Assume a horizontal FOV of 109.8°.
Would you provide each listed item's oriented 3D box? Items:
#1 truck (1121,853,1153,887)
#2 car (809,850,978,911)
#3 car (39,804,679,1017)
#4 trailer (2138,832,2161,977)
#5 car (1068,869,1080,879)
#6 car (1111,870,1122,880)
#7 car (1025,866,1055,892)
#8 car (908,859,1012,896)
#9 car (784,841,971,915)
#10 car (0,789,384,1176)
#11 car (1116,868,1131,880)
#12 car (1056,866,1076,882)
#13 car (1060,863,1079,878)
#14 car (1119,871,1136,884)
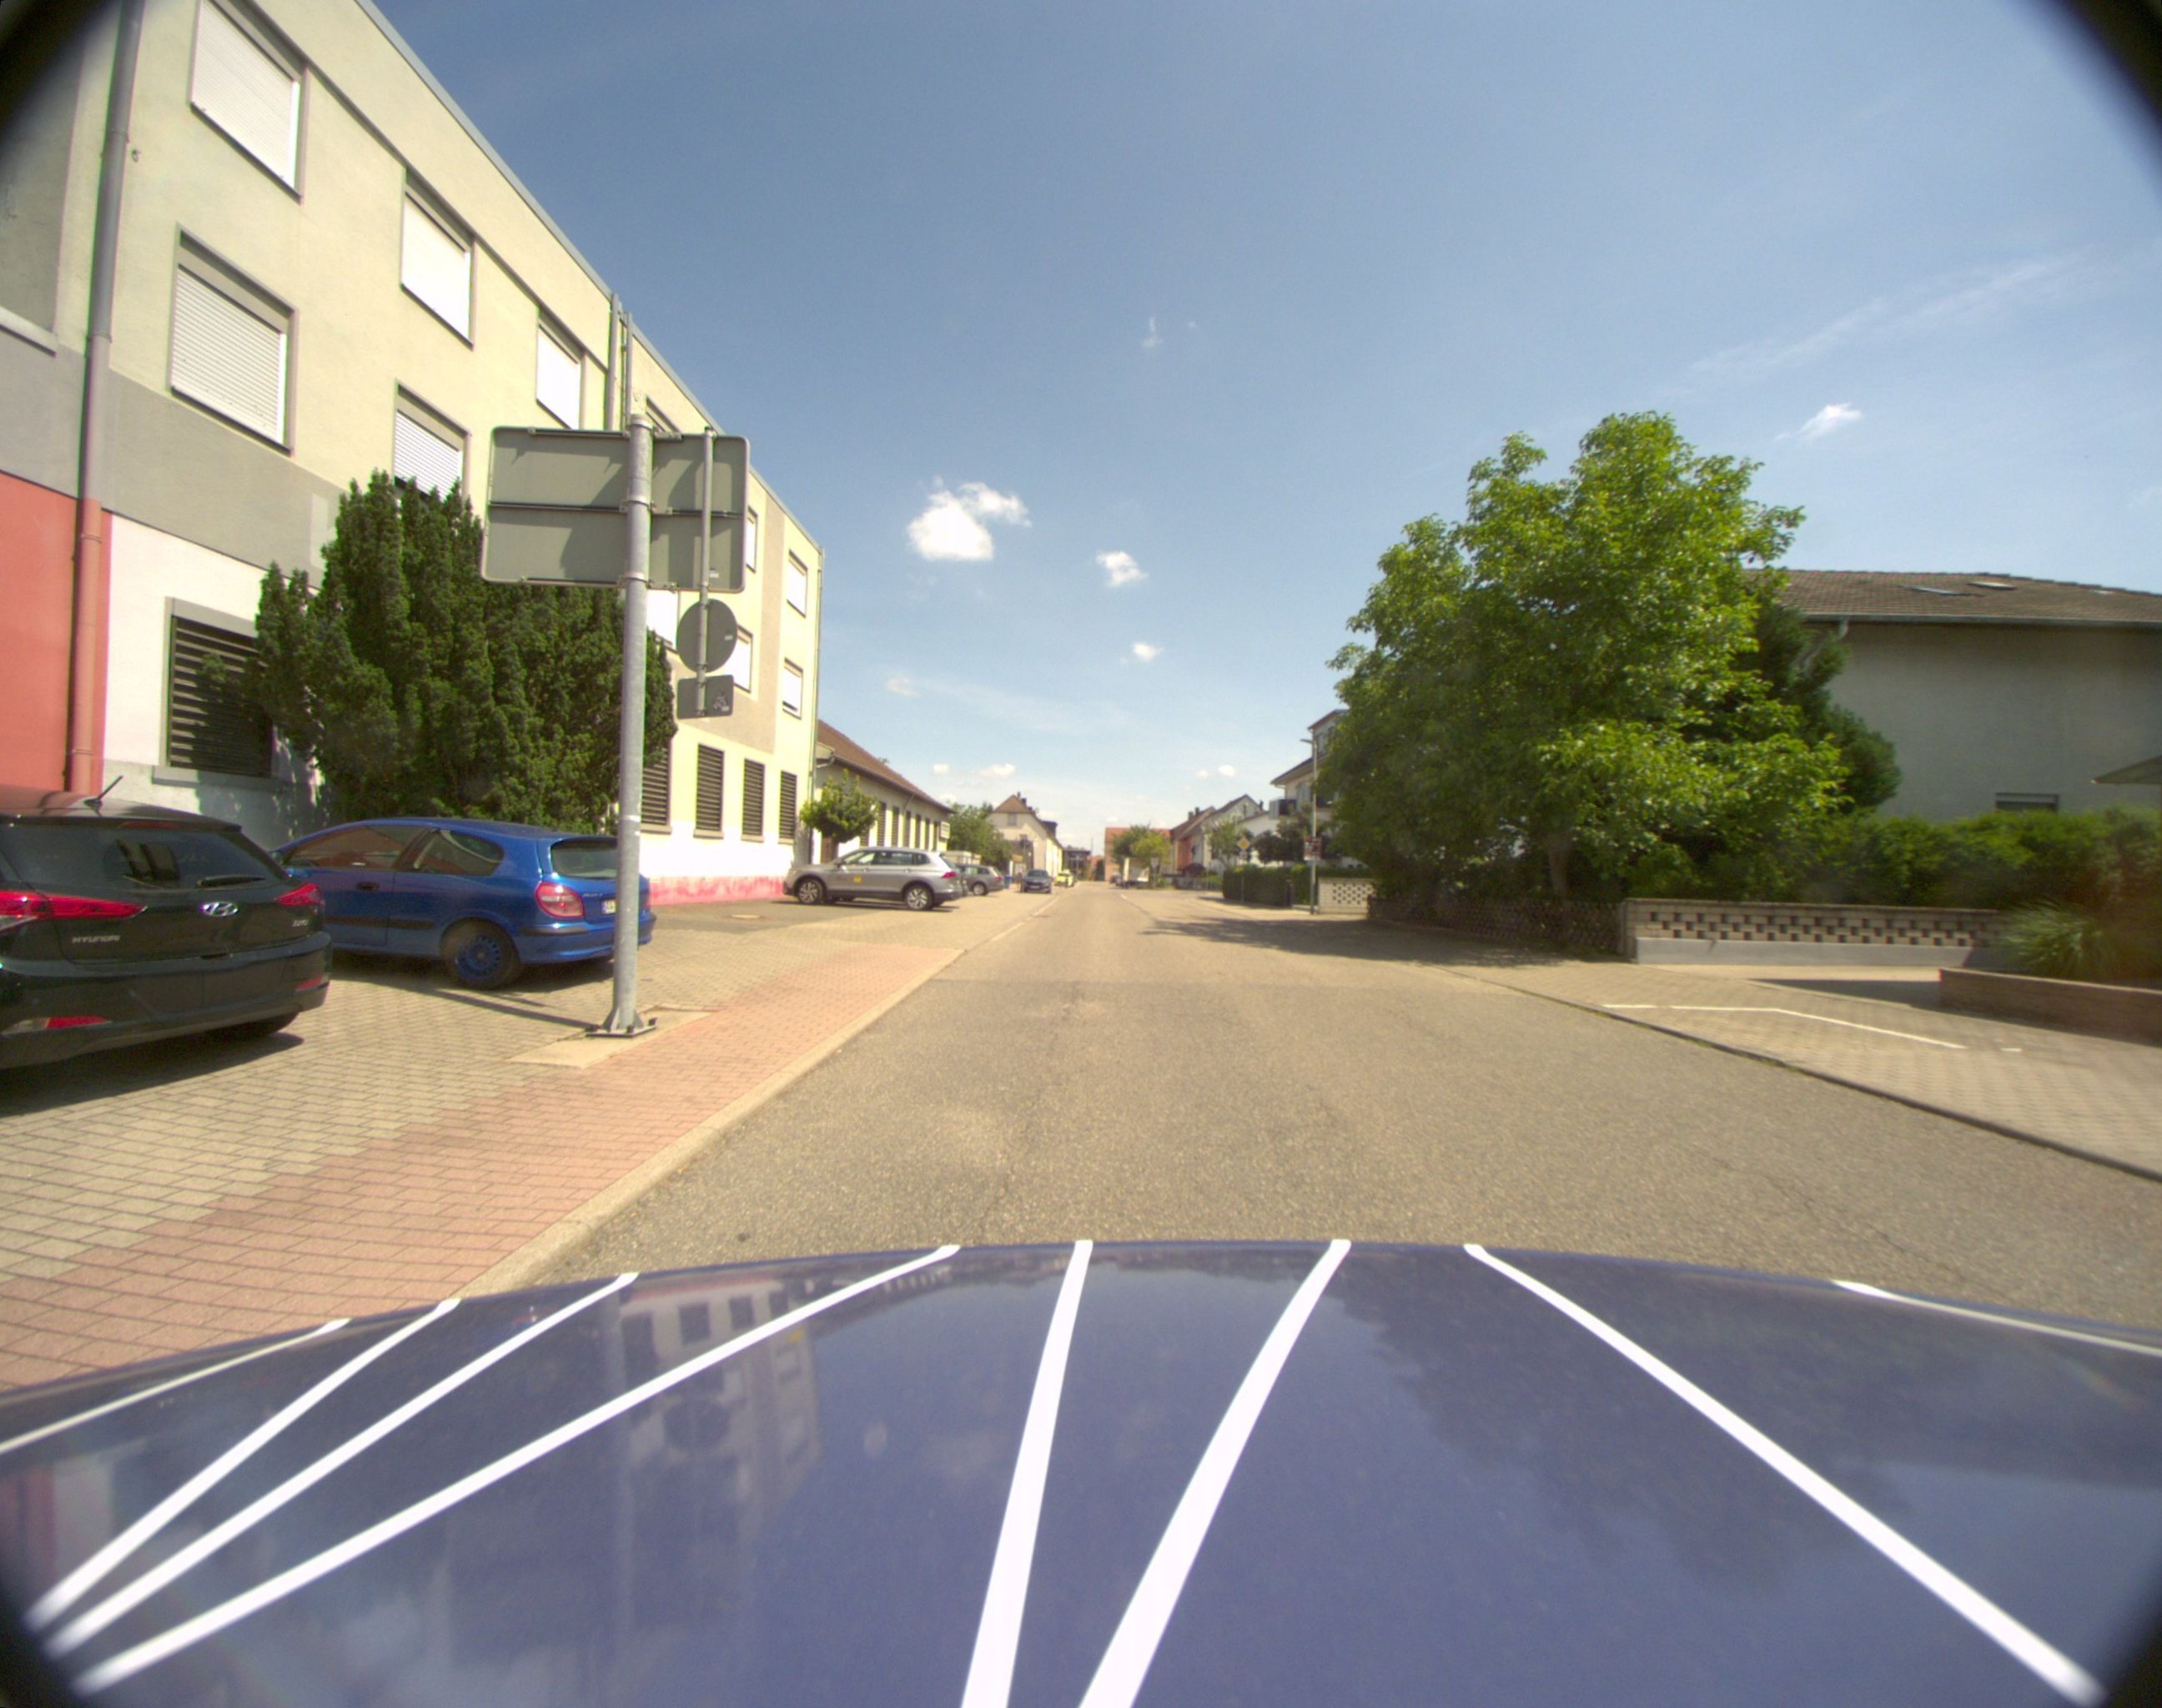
[{"bbox_3d":[5.986,1.722,81.597,2.444,3.227,7.037,5,-1,-2],"label":"truck"},{"bbox_3d":[-5.542,0.779,22.909,4.512,1.510,2.000,3,-1,0],"label":"car"},{"bbox_3d":[-6.519,0.453,7.246,4.333,1.431,1.779,5,2,0],"label":"car"},{"bbox_3d":[17.296,0.728,10.546,3.177,2.100,1.674,0,0,-5],"label":"trailer"},{"bbox_3d":[-1.189,3.322,126.492,1.720,1.491,4.216,5,-1,1],"label":"car"},{"bbox_3d":[6.155,3.665,132.327,1.720,1.491,4.216,4,-1,0],"label":"car"},{"bbox_3d":[-2.521,1.511,47.009,1.632,1.480,4.140,2,-1,-1],"label":"car"},{"bbox_3d":[-5.713,1.111,36.191,4.537,1.445,1.918,3,-1,1],"label":"car"},{"bbox_3d":[-5.393,0.642,20.612,4.465,1.687,1.923,3,-1,-1],"label":"car"},{"bbox_3d":[-6.534,0.390,3.978,3.905,1.481,1.809,8,1,-1],"label":"car"},{"bbox_3d":[5.660,2.659,101.733,1.720,1.491,4.216,4,-1,0],"label":"car"},{"bbox_3d":[-1.519,1.986,76.765,1.720,1.389,4.216,5,-1,1],"label":"car"},{"bbox_3d":[-1.198,1.781,81.385,1.720,1.491,4.216,5,-1,1],"label":"car"},{"bbox_3d":[5.828,2.909,95.505,1.720,1.491,4.216,4,-1,0],"label":"car"}]
